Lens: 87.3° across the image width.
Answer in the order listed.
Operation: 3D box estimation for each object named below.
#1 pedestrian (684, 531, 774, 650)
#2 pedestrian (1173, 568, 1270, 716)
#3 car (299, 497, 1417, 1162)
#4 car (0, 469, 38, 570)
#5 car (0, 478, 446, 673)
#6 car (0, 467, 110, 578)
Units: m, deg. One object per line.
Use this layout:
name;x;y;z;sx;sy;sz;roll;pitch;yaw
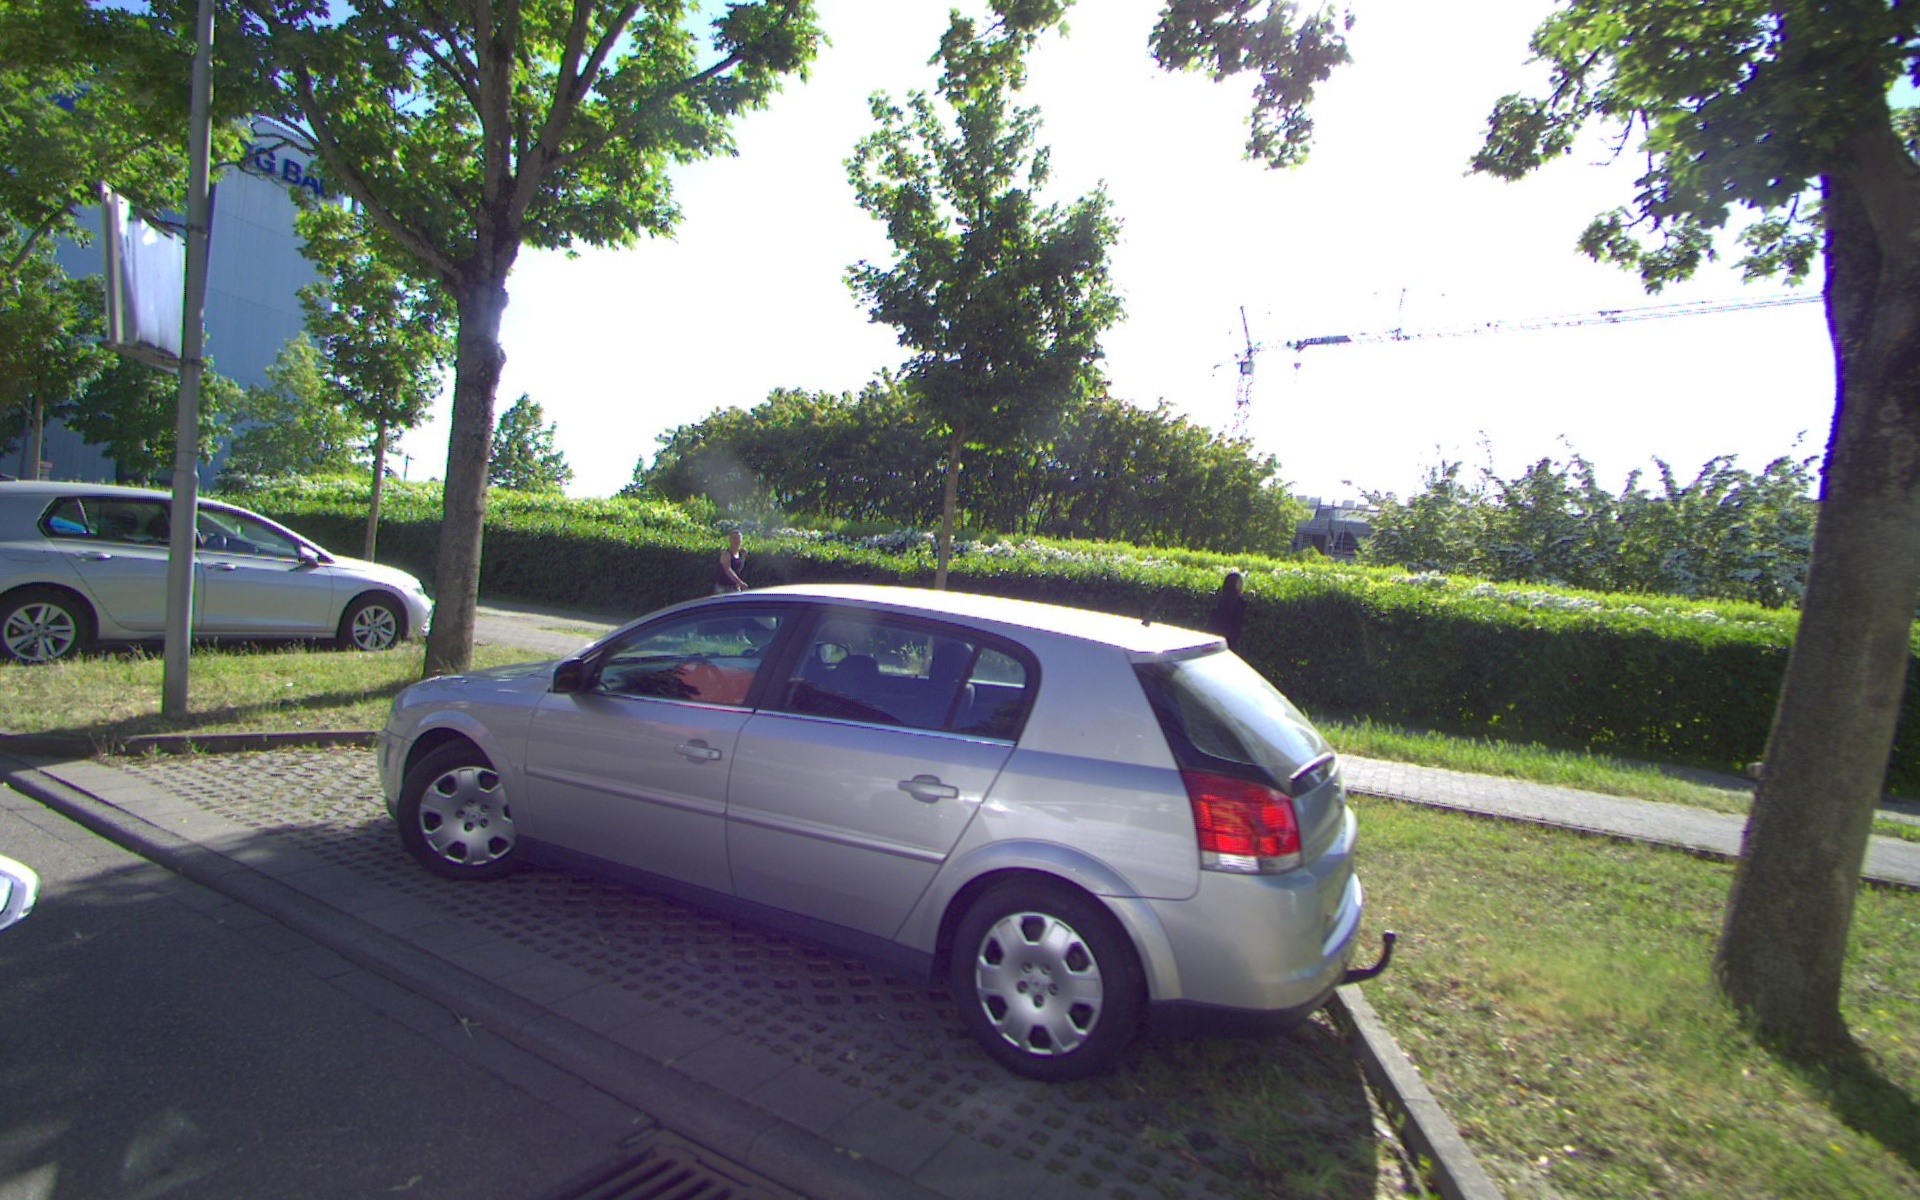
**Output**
pedestrian;-3.257;-0.127;14.210;0.920;1.562;0.608;7;1;25
pedestrian;3.101;0.487;11.903;0.837;1.608;0.725;7;1;25
car;-0.570;0.518;4.431;4.542;1.514;1.811;6;3;26
car;-16.367;-1.352;14.119;2.119;1.535;4.557;6;2;23
car;-7.122;-0.258;9.191;1.615;1.449;4.089;6;4;29
car;-13.848;-1.108;13.148;1.713;1.469;3.808;6;3;25
